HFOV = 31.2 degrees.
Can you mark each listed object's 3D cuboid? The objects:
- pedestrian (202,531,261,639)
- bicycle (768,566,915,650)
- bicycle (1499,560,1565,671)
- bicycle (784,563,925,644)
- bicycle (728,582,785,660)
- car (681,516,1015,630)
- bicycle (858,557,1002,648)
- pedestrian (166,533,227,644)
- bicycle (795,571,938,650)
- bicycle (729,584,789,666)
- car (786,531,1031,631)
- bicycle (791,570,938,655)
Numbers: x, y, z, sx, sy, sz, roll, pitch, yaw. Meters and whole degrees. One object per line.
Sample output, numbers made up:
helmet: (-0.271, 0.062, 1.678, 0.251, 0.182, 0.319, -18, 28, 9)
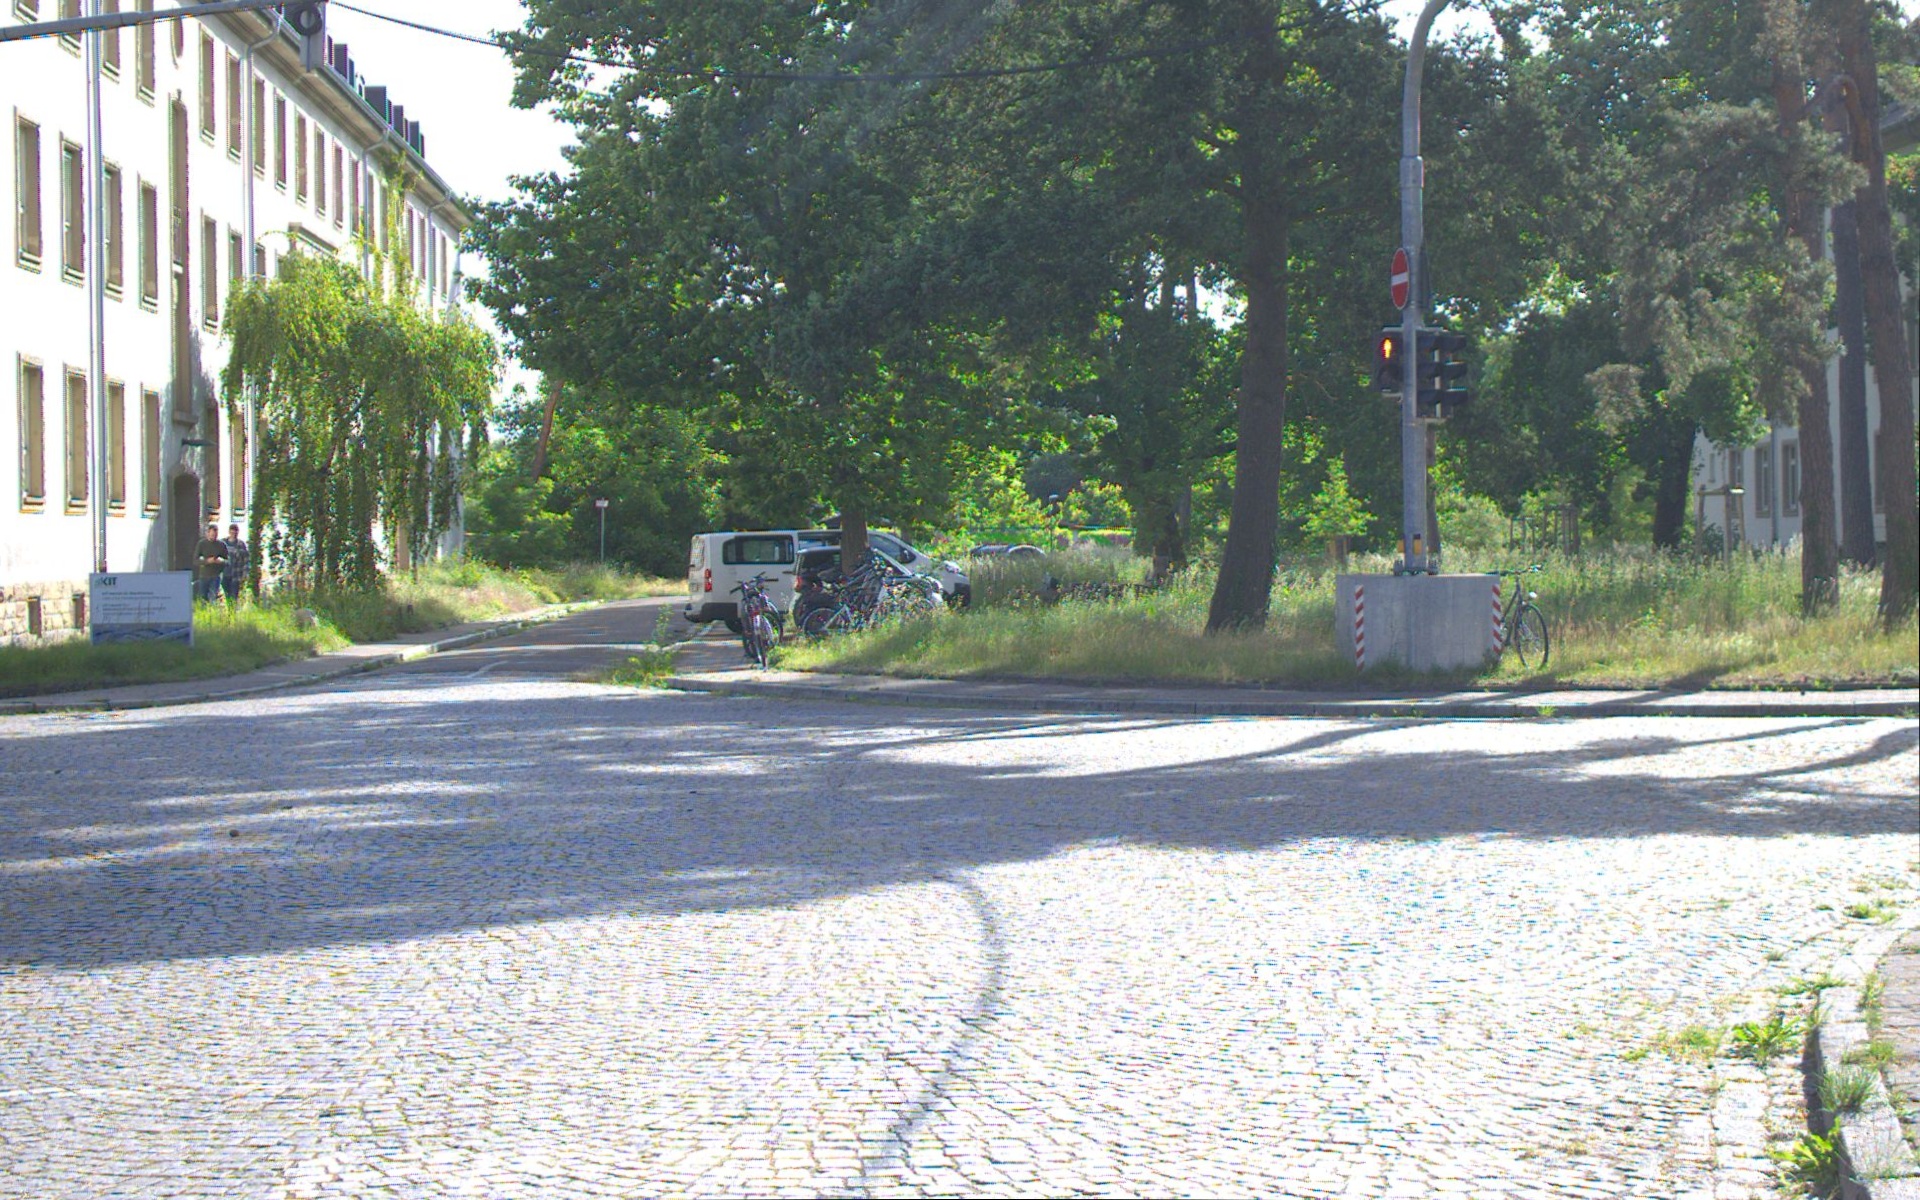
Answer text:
pedestrian: (-12.270, -0.255, 57.909, 0.767, 1.811, 0.682, 0, 1, 9)
bicycle: (-1.645, 0.102, 47.840, 1.940, 1.125, 0.648, -1, 1, -29)
bicycle: (5.643, 0.146, 33.927, 0.466, 1.076, 1.174, -1, 0, 1)
bicycle: (-1.505, 0.040, 48.933, 1.940, 1.125, 0.648, -1, 1, -7)
bicycle: (-2.625, 0.258, 44.250, 0.695, 0.968, 1.861, 0, 1, -4)
car: (-2.114, -0.518, 63.949, 5.929, 2.007, 2.476, -1, 1, -9)
bicycle: (-0.415, 0.033, 47.364, 1.940, 1.231, 0.485, -1, 1, -5)
pedestrian: (-12.577, -0.197, 56.611, 0.812, 1.811, 0.555, 0, 1, 9)
bicycle: (-1.247, 0.133, 45.838, 1.854, 1.027, 0.750, -1, 1, -5)
bicycle: (-2.483, 0.298, 42.316, 0.695, 0.968, 1.861, 0, 1, -4)
car: (-0.909, -0.342, 59.624, 3.986, 1.678, 1.848, -1, 1, -10)
bicycle: (-1.305, 0.164, 46.633, 1.940, 1.125, 0.750, -1, 1, -5)
